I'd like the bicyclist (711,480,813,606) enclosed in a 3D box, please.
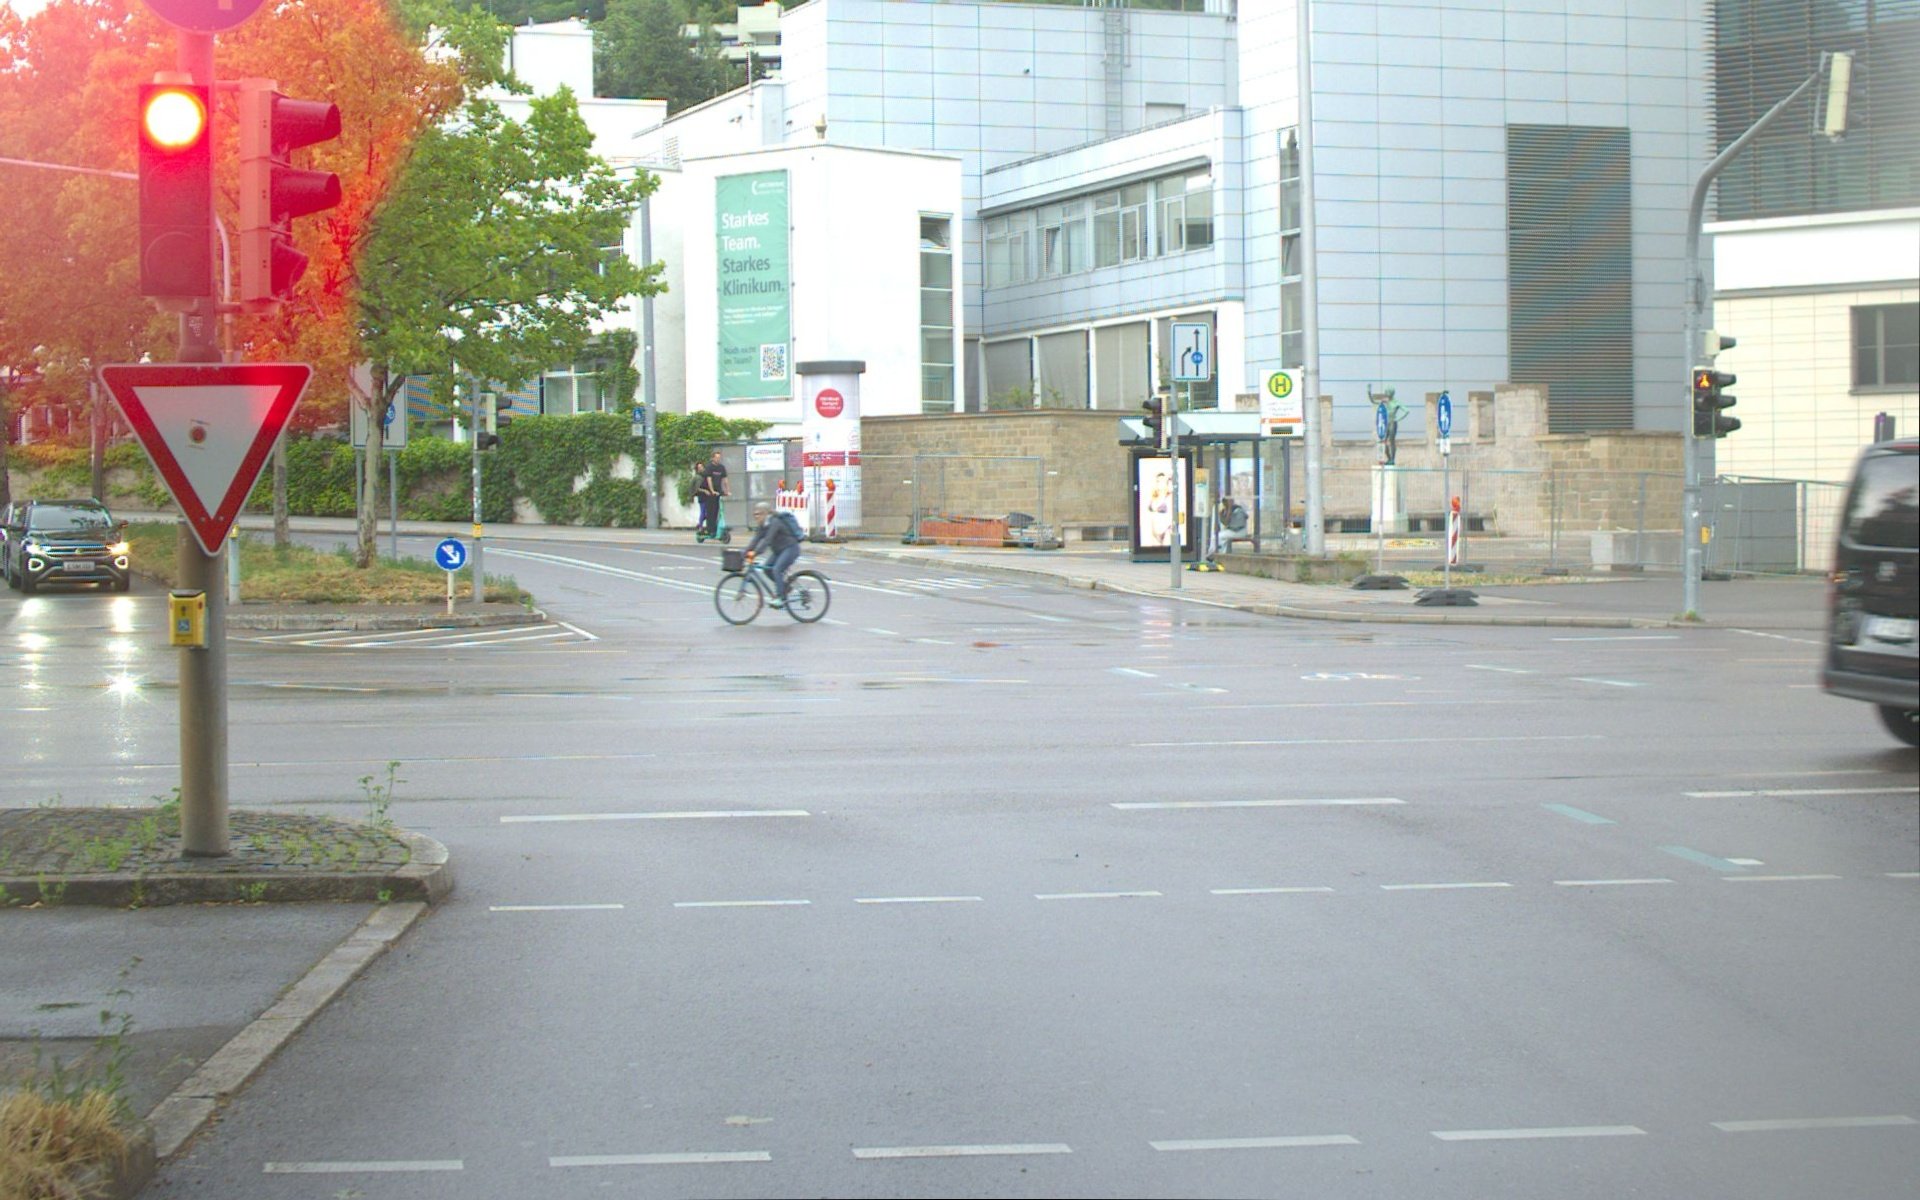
[{"bbox_3d":[-2.624,-0.752,45.505,1.125,1.627,0.702,1,0,-31],"label":"bicyclist"}]

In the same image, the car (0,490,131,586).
[{"bbox_3d":[-15.521,-1.095,59.301,1.788,1.579,4.001,-1,2,-22],"label":"car"}]

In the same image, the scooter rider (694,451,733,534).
[{"bbox_3d":[-5.649,-2.459,78.738,0.723,1.877,0.632,1,0,-20],"label":"scooter rider"}]

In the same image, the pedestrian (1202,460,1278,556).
[{"bbox_3d":[5.145,-1.686,63.328,1.257,1.713,1.016,1,0,-2],"label":"pedestrian"}]

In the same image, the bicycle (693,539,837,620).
[{"bbox_3d":[-2.581,-0.274,45.566,1.815,1.053,0.648,0,1,-30],"label":"bicycle"}]

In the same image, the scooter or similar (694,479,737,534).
[{"bbox_3d":[-5.608,-2.131,78.783,0.591,1.234,1.314,1,0,-21],"label":"scooter or similar"}]

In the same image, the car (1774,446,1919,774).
[{"bbox_3d":[7.433,0.008,20.161,4.770,1.803,2.001,-1,2,-12],"label":"car"}]
